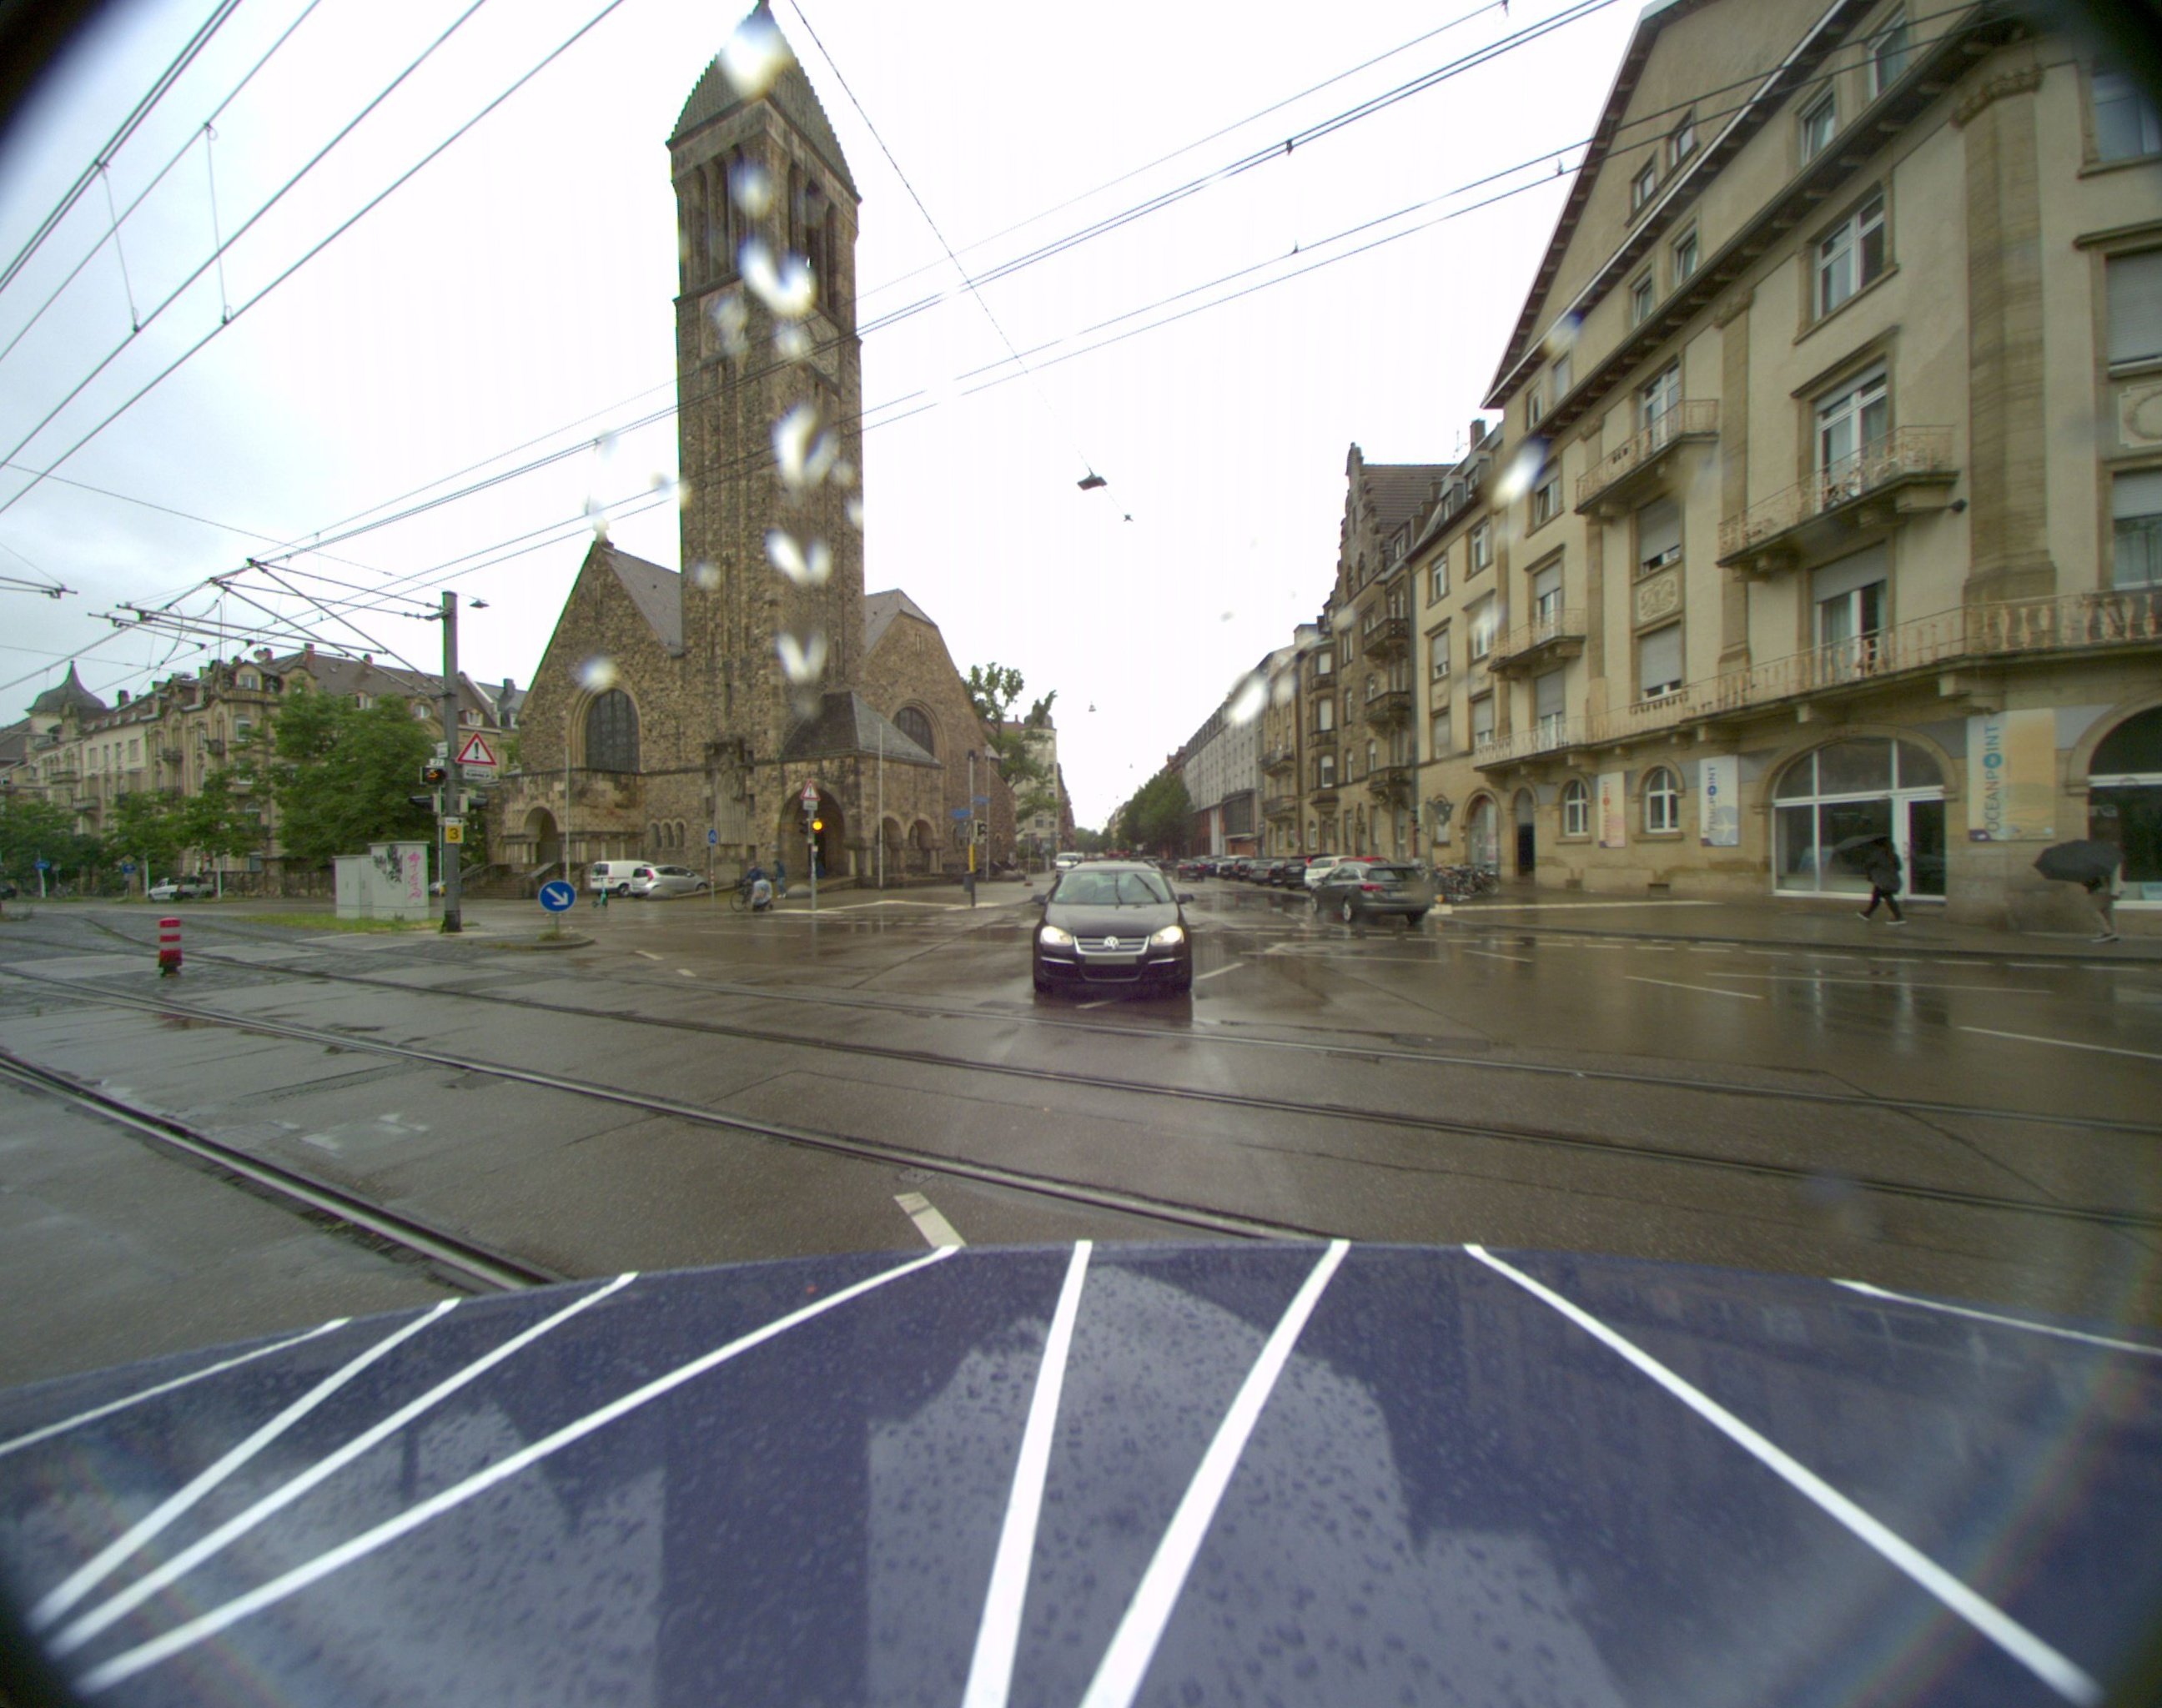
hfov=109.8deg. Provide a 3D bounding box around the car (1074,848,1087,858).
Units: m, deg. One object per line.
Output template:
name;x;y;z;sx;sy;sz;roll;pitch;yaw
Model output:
car;-0.039;-0.100;112.270;1.921;1.470;4.220;0;0;1

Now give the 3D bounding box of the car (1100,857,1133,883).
car;2.017;0.889;44.188;1.766;1.430;3.748;0;0;1

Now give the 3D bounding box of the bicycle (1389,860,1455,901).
bicycle;11.329;0.891;25.269;1.980;1.322;0.438;-1;0;3

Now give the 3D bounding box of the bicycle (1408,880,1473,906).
bicycle;11.003;1.183;23.285;1.044;0.660;1.475;-4;2;-30

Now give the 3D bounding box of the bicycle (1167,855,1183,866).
bicycle;10.192;0.717;82.436;1.688;1.067;0.544;-3;1;-2

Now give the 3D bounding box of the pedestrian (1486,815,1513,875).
pedestrian;16.458;-0.349;29.911;0.846;2.326;0.765;-1;1;23

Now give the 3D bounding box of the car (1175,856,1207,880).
car;7.387;0.931;51.159;1.747;1.537;3.779;0;0;2

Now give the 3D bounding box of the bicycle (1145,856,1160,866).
bicycle;8.129;0.808;86.224;1.688;1.067;0.544;-1;1;-2

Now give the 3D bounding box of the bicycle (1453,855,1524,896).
bicycle;13.471;0.702;25.148;2.063;1.338;0.584;-1;1;-4

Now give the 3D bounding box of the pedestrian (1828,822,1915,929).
pedestrian;15.080;0.390;14.517;0.921;1.955;0.700;-2;4;-7

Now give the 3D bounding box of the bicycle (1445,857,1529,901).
bicycle;12.830;0.768;24.048;2.347;1.338;0.640;-1;1;-4

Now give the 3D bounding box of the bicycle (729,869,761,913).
bicycle;-11.910;1.275;27.011;0.533;1.458;1.938;-1;0;-9

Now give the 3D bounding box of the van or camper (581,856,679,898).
van or camper;-22.870;1.113;38.687;1.645;1.719;3.934;0;4;24

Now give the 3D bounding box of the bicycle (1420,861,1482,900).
bicycle;12.635;0.907;25.954;1.815;1.178;0.468;-5;1;-1

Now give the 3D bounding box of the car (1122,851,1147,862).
car;8.690;0.409;123.253;3.802;1.705;1.904;0;1;-9

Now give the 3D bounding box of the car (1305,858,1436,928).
car;7.234;0.899;19.466;1.731;1.537;4.340;0;0;0

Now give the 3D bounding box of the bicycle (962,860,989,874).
bicycle;-7.865;0.972;56.679;1.924;1.054;0.582;0;1;20

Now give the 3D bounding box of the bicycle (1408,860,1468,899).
bicycle;12.504;0.884;26.634;1.815;1.178;0.475;-5;1;-1

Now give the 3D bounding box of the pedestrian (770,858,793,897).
pedestrian;-13.169;1.037;33.443;0.632;1.693;0.679;-1;1;21

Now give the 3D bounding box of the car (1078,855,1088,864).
car;0.226;0.780;105.620;1.356;1.285;3.013;0;0;1

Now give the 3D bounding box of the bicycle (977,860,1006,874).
bicycle;-6.935;0.996;58.561;2.150;1.054;0.679;0;1;22

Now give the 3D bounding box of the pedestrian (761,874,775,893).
pedestrian;-14.459;1.368;35.083;0.455;0.879;0.397;-1;1;21

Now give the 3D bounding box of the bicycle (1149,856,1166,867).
bicycle;8.336;0.795;82.458;1.688;1.067;0.544;-3;1;-2

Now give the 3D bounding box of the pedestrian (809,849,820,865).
pedestrian;-14.796;0.162;42.194;0.395;0.879;0.457;-1;1;24

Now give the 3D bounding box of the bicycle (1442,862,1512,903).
bicycle;12.879;0.915;24.729;1.985;1.178;0.475;-4;1;-2

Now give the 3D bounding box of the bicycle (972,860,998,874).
bicycle;-7.301;1.014;57.957;1.923;1.054;0.582;0;1;22

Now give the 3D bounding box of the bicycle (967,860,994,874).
bicycle;-7.588;0.976;57.312;1.923;1.054;0.582;0;1;22

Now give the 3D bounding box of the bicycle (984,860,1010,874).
bicycle;-6.551;0.988;59.434;1.978;1.060;0.607;0;1;23

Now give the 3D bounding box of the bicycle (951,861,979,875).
bicycle;-8.513;1.030;55.697;2.005;1.043;0.577;0;1;18

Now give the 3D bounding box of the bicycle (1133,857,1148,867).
bicycle;6.807;0.901;87.182;1.688;1.067;0.544;2;1;-2

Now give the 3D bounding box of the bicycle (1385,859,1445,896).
bicycle;12.119;0.845;27.567;1.814;1.178;0.600;-5;0;6

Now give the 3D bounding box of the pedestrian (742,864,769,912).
pedestrian;-11.482;1.188;26.840;0.604;1.654;0.689;-1;0;4
